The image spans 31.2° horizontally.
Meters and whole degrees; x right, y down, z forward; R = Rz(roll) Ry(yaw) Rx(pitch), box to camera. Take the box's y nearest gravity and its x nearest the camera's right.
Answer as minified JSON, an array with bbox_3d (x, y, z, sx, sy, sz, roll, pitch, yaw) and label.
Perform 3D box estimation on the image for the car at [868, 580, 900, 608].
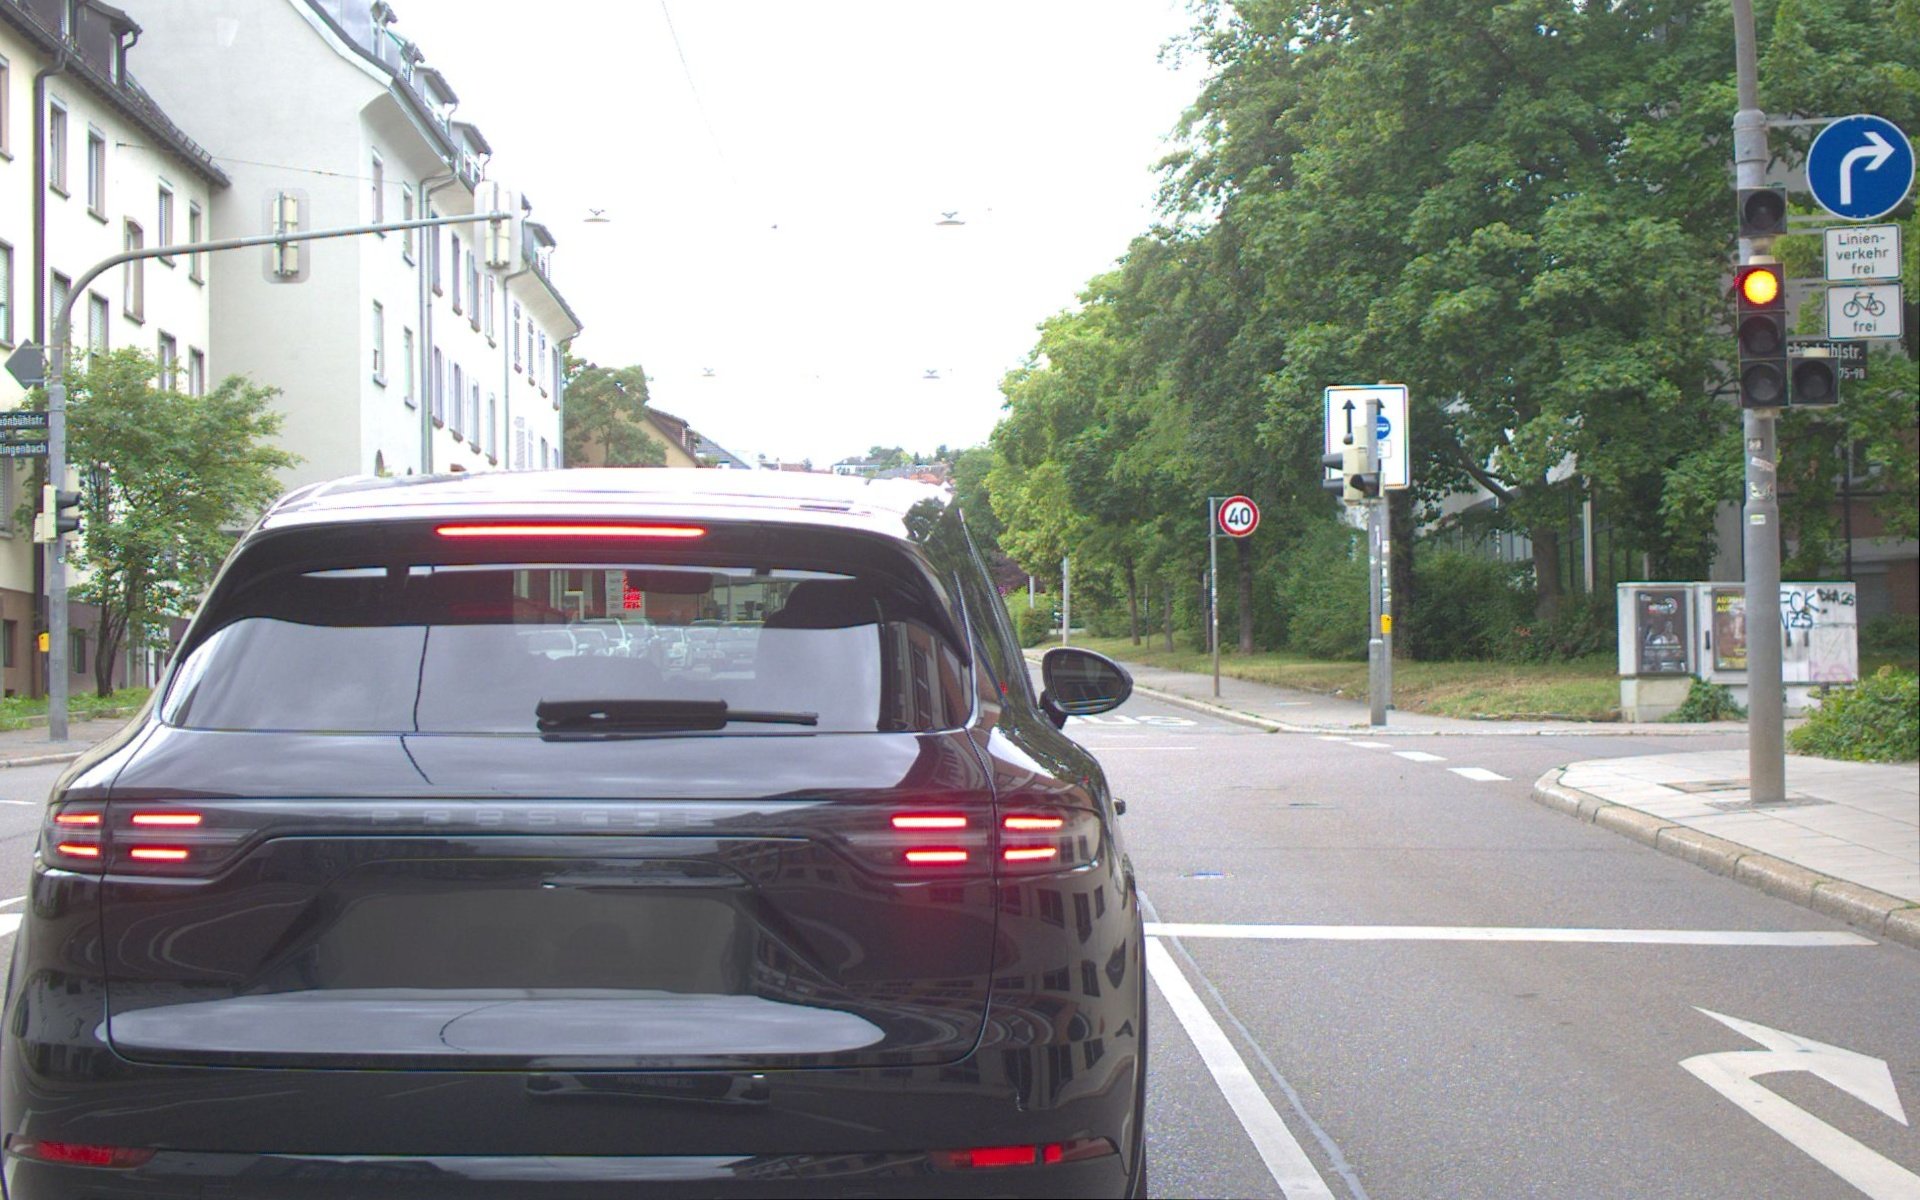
[{"bbox_3d":[-4.483,-0.364,202.955,1.827,1.599,4.135,1,1,0],"label":"car"}]

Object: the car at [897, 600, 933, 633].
[{"bbox_3d":[-2.386,0.874,182.495,1.827,1.599,4.135,1,1,0],"label":"car"}]

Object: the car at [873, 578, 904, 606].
[{"bbox_3d":[-4.384,-0.516,210.280,1.827,1.599,4.135,1,1,0],"label":"car"}]

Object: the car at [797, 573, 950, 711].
[{"bbox_3d":[-1.062,0.496,43.832,1.827,1.599,4.135,1,1,0],"label":"car"}]

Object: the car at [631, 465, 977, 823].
[{"bbox_3d":[-0.912,0.217,21.907,1.965,2.035,4.135,1,1,0],"label":"car"}]

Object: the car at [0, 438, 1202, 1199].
[{"bbox_3d":[-0.690,0.564,7.260,2.048,1.660,4.267,1,1,0],"label":"car"}]

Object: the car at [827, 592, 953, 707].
[{"bbox_3d":[-1.037,0.721,52.550,1.827,1.599,3.859,1,1,0],"label":"car"}]

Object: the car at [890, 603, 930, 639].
[{"bbox_3d":[-2.377,0.981,163.319,1.827,1.599,4.135,1,1,0],"label":"car"}]
